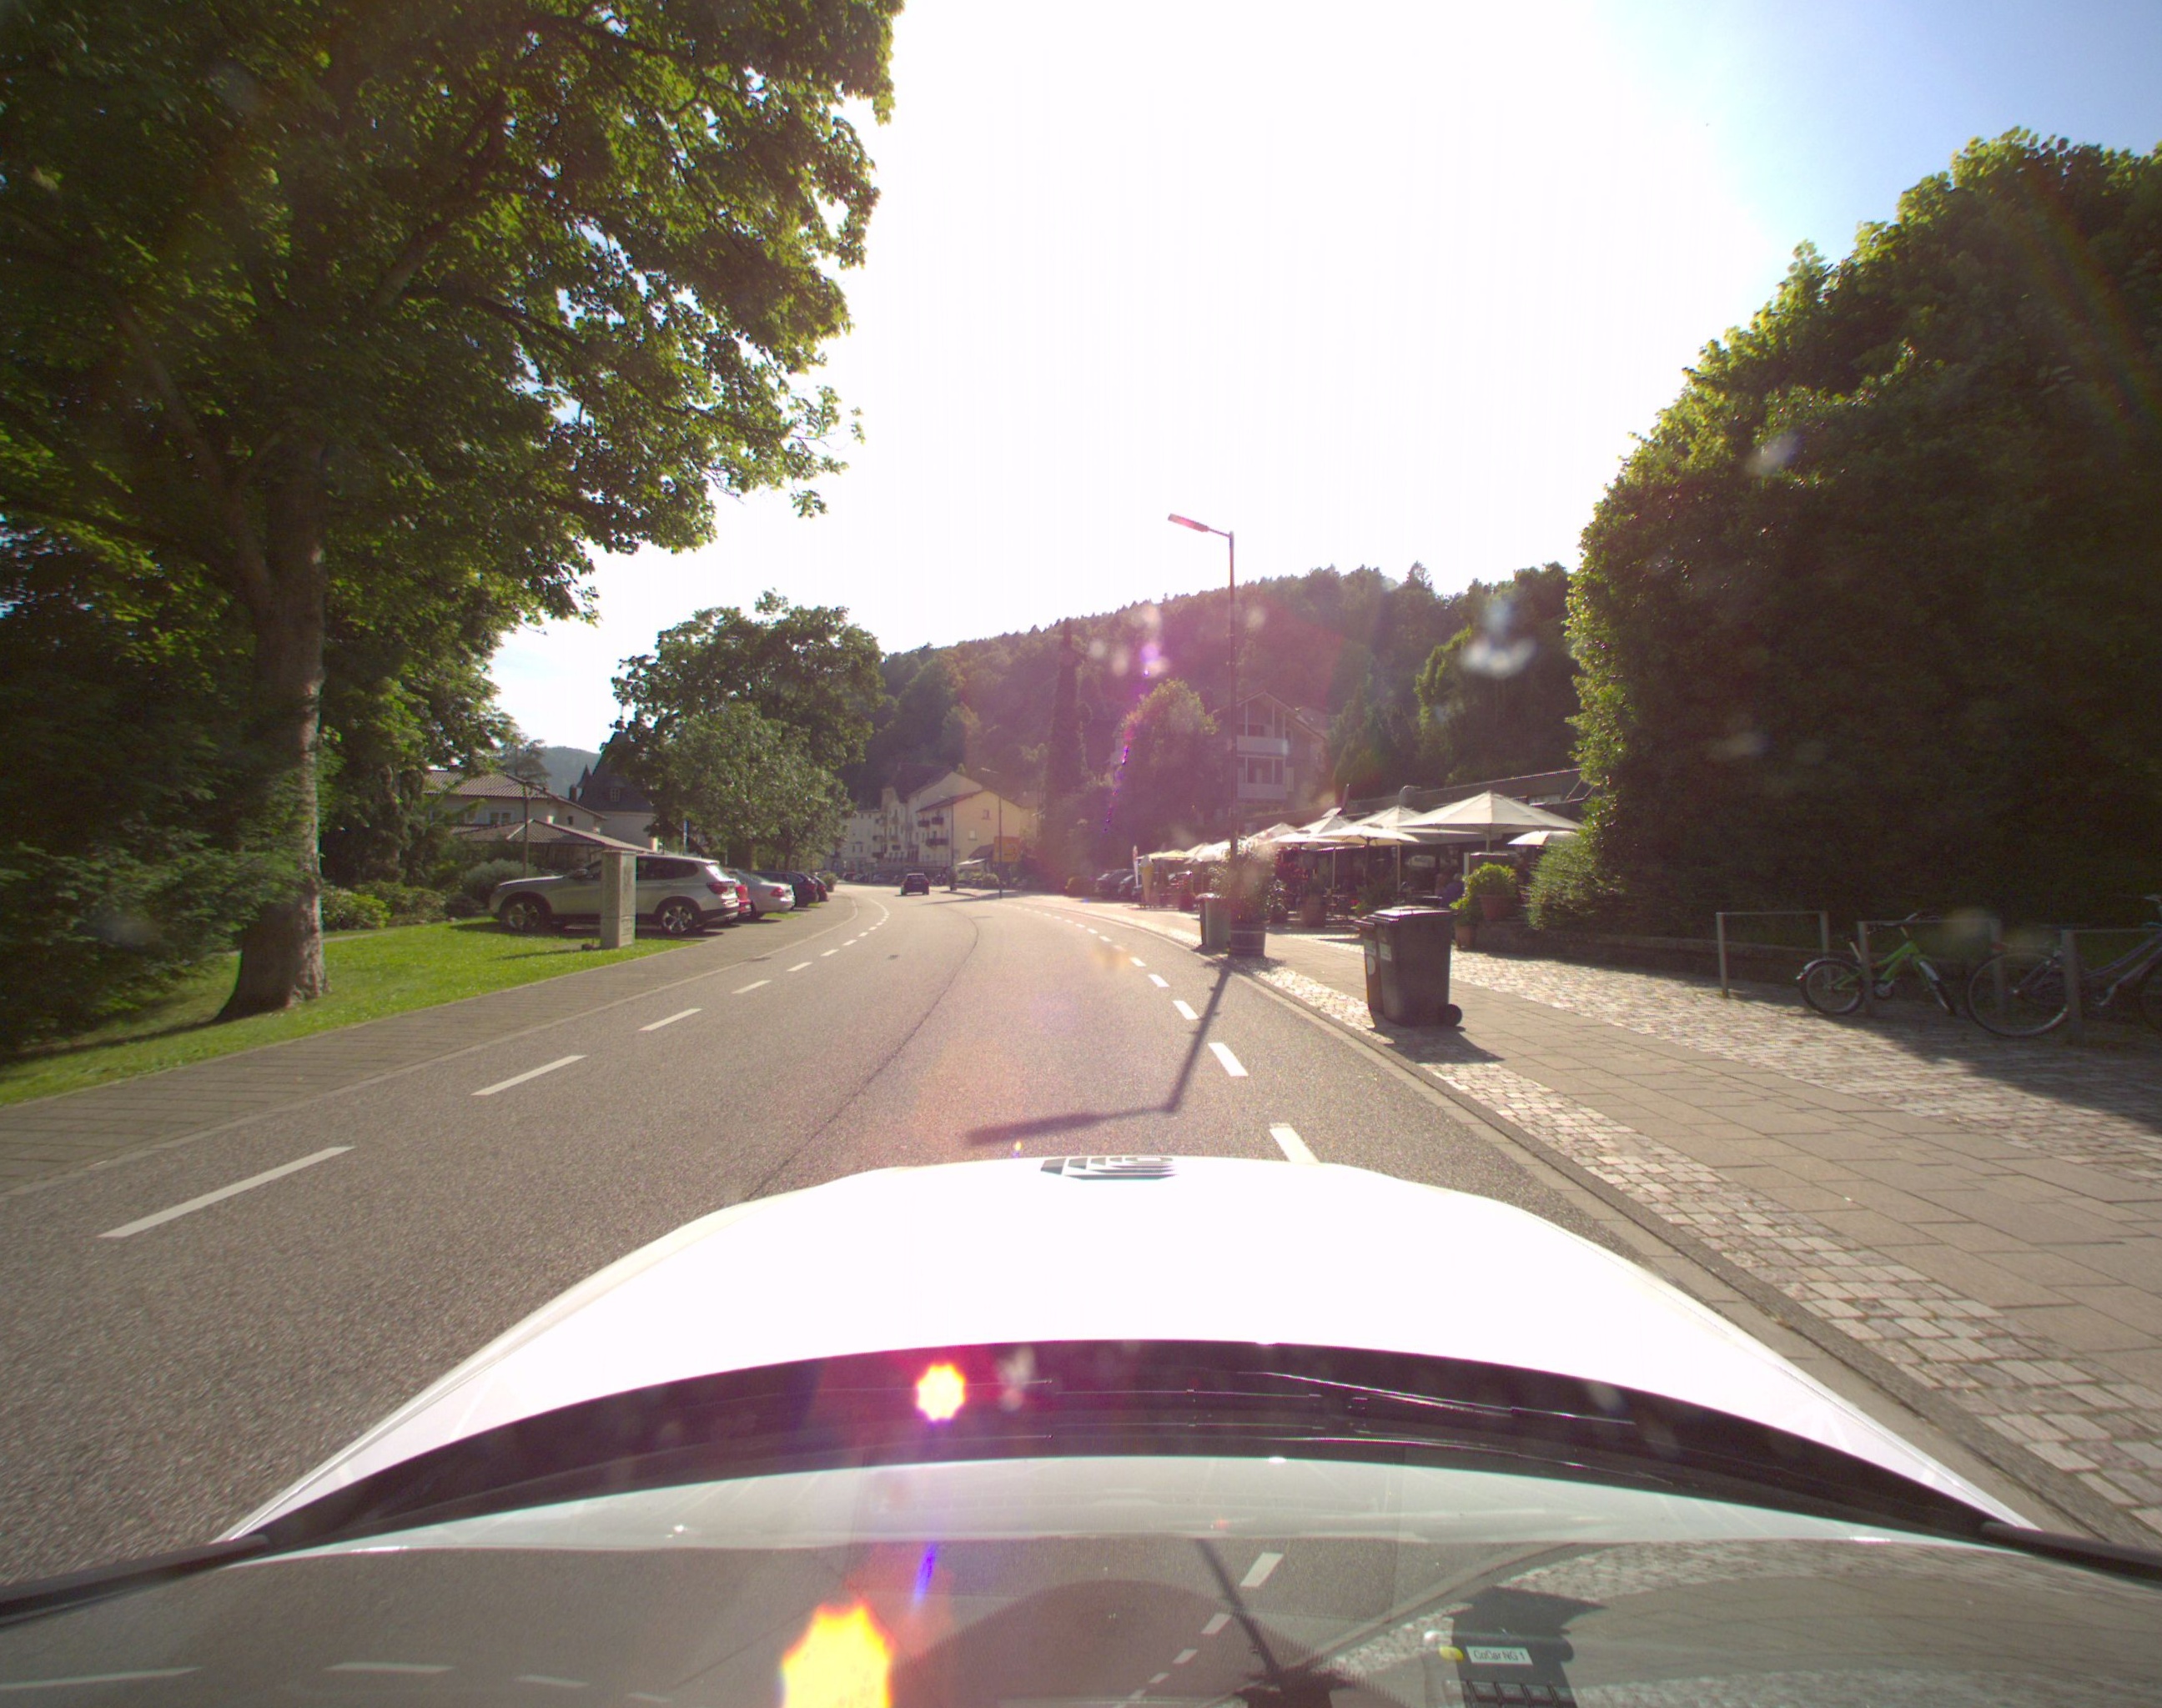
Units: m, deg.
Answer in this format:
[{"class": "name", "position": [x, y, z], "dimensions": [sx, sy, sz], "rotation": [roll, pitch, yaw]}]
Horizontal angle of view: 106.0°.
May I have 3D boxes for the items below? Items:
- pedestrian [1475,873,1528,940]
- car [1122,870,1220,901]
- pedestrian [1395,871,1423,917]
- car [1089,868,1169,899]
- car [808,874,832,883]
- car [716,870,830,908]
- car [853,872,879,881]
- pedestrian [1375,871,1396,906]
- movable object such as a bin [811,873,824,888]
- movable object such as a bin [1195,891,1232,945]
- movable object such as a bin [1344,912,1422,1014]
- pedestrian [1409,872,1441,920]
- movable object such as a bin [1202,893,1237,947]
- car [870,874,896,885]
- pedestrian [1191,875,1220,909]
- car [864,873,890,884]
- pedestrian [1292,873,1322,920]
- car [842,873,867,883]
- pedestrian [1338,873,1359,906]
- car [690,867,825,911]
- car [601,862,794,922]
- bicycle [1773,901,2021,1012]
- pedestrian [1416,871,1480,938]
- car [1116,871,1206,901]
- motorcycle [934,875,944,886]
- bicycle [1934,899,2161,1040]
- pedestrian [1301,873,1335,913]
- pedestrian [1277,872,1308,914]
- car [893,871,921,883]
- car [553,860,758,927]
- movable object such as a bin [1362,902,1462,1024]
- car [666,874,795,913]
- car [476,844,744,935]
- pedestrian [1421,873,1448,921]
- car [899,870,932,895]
[{"class": "pedestrian", "position": [8.358, 1.024, 16.191], "dimensions": [0.649, 1.284, 0.641], "rotation": [-1, -1, -18]}, {"class": "car", "position": [4.212, 1.470, 38.181], "dimensions": [4.270, 1.379, 1.700], "rotation": [0, -2, -16]}, {"class": "pedestrian", "position": [9.685, 1.179, 24.056], "dimensions": [0.573, 1.304, 0.642], "rotation": [-2, -1, 38]}, {"class": "car", "position": [2.515, 1.563, 43.226], "dimensions": [3.882, 1.580, 1.739], "rotation": [0, -2, -16]}, {"class": "car", "position": [-50.703, 4.748, 158.301], "dimensions": [4.019, 1.662, 1.977], "rotation": [-1, -1, -37]}, {"class": "car", "position": [-12.806, 1.476, 33.937], "dimensions": [4.293, 1.432, 1.700], "rotation": [3, -3, -23]}, {"class": "car", "position": [-39.301, 4.216, 149.055], "dimensions": [4.376, 1.461, 1.758], "rotation": [3, -4, -25]}, {"class": "pedestrian", "position": [11.492, 1.278, 30.697], "dimensions": [0.679, 1.299, 0.641], "rotation": [-1, -2, 23]}, {"class": "movable object such as a bin", "position": [-25.159, 2.528, 77.604], "dimensions": [1.082, 1.427, 1.367], "rotation": [3, -2, -20]}, {"class": "movable object such as a bin", "position": [2.416, 1.164, 14.906], "dimensions": [0.547, 0.926, 0.519], "rotation": [-1, -1, -6]}, {"class": "movable object such as a bin", "position": [2.966, 1.056, 8.037], "dimensions": [0.524, 0.912, 0.562], "rotation": [-1, -1, -3]}, {"class": "pedestrian", "position": [9.678, 1.164, 22.940], "dimensions": [0.531, 1.304, 0.605], "rotation": [-1, -1, -19]}, {"class": "movable object such as a bin", "position": [2.444, 1.161, 14.394], "dimensions": [0.513, 0.912, 0.441], "rotation": [-1, -1, -6]}, {"class": "car", "position": [-33.716, 4.383, 138.526], "dimensions": [3.930, 1.589, 1.759], "rotation": [4, -3, -27]}, {"class": "pedestrian", "position": [4.601, 1.398, 30.198], "dimensions": [0.813, 1.261, 0.695], "rotation": [0, -2, -25]}, {"class": "car", "position": [-35.227, 4.253, 140.860], "dimensions": [3.929, 1.805, 1.841], "rotation": [5, -4, -27]}, {"class": "pedestrian", "position": [6.235, 1.172, 22.499], "dimensions": [0.475, 1.245, 0.587], "rotation": [0, -2, -32]}, {"class": "car", "position": [-42.530, 4.507, 152.787], "dimensions": [4.105, 1.666, 1.757], "rotation": [5, -3, -27]}, {"class": "pedestrian", "position": [10.170, 1.342, 30.984], "dimensions": [0.680, 1.209, 0.703], "rotation": [-1, -2, 16]}, {"class": "car", "position": [-11.984, 1.310, 30.477], "dimensions": [4.505, 1.510, 1.702], "rotation": [2, -2, -18]}, {"class": "car", "position": [-10.422, 1.061, 22.507], "dimensions": [4.489, 1.418, 1.801], "rotation": [3, -3, -14]}, {"class": "bicycle", "position": [7.209, 0.913, 7.256], "dimensions": [1.531, 0.909, 0.386], "rotation": [-3, -1, 17]}, {"class": "pedestrian", "position": [7.338, 0.990, 16.299], "dimensions": [0.950, 1.284, 0.641], "rotation": [-1, -1, -18]}, {"class": "car", "position": [3.949, 1.548, 40.291], "dimensions": [4.117, 1.415, 1.739], "rotation": [0, -2, -16]}, {"class": "motorcycle", "position": [-16.363, 3.050, 93.615], "dimensions": [0.699, 1.296, 2.197], "rotation": [-2, -1, -20]}, {"class": "bicycle", "position": [7.535, 0.853, 6.116], "dimensions": [1.531, 0.983, 0.386], "rotation": [-2, -1, 17]}, {"class": "pedestrian", "position": [7.577, 1.240, 26.044], "dimensions": [0.802, 1.261, 0.705], "rotation": [-2, -2, 38]}, {"class": "pedestrian", "position": [6.589, 1.210, 25.389], "dimensions": [0.806, 1.261, 0.701], "rotation": [-1, -1, 3]}, {"class": "car", "position": [-26.862, 3.568, 125.773], "dimensions": [3.882, 1.555, 1.744], "rotation": [4, -3, -29]}, {"class": "car", "position": [-10.089, 0.962, 19.641], "dimensions": [3.993, 1.433, 1.711], "rotation": [2, -3, -15]}, {"class": "movable object such as a bin", "position": [3.016, 0.976, 7.465], "dimensions": [0.654, 1.032, 0.571], "rotation": [-1, -1, -3]}, {"class": "car", "position": [-11.715, 1.344, 27.503], "dimensions": [3.803, 1.243, 1.752], "rotation": [1, -2, -18]}, {"class": "car", "position": [-9.745, 0.781, 17.276], "dimensions": [4.489, 1.664, 1.801], "rotation": [3, -3, -14]}, {"class": "pedestrian", "position": [9.613, 1.156, 22.121], "dimensions": [0.470, 1.265, 0.437], "rotation": [-1, -1, -20]}, {"class": "car", "position": [-11.915, 2.033, 58.496], "dimensions": [1.733, 1.574, 3.727], "rotation": [2, 0, -20]}]
